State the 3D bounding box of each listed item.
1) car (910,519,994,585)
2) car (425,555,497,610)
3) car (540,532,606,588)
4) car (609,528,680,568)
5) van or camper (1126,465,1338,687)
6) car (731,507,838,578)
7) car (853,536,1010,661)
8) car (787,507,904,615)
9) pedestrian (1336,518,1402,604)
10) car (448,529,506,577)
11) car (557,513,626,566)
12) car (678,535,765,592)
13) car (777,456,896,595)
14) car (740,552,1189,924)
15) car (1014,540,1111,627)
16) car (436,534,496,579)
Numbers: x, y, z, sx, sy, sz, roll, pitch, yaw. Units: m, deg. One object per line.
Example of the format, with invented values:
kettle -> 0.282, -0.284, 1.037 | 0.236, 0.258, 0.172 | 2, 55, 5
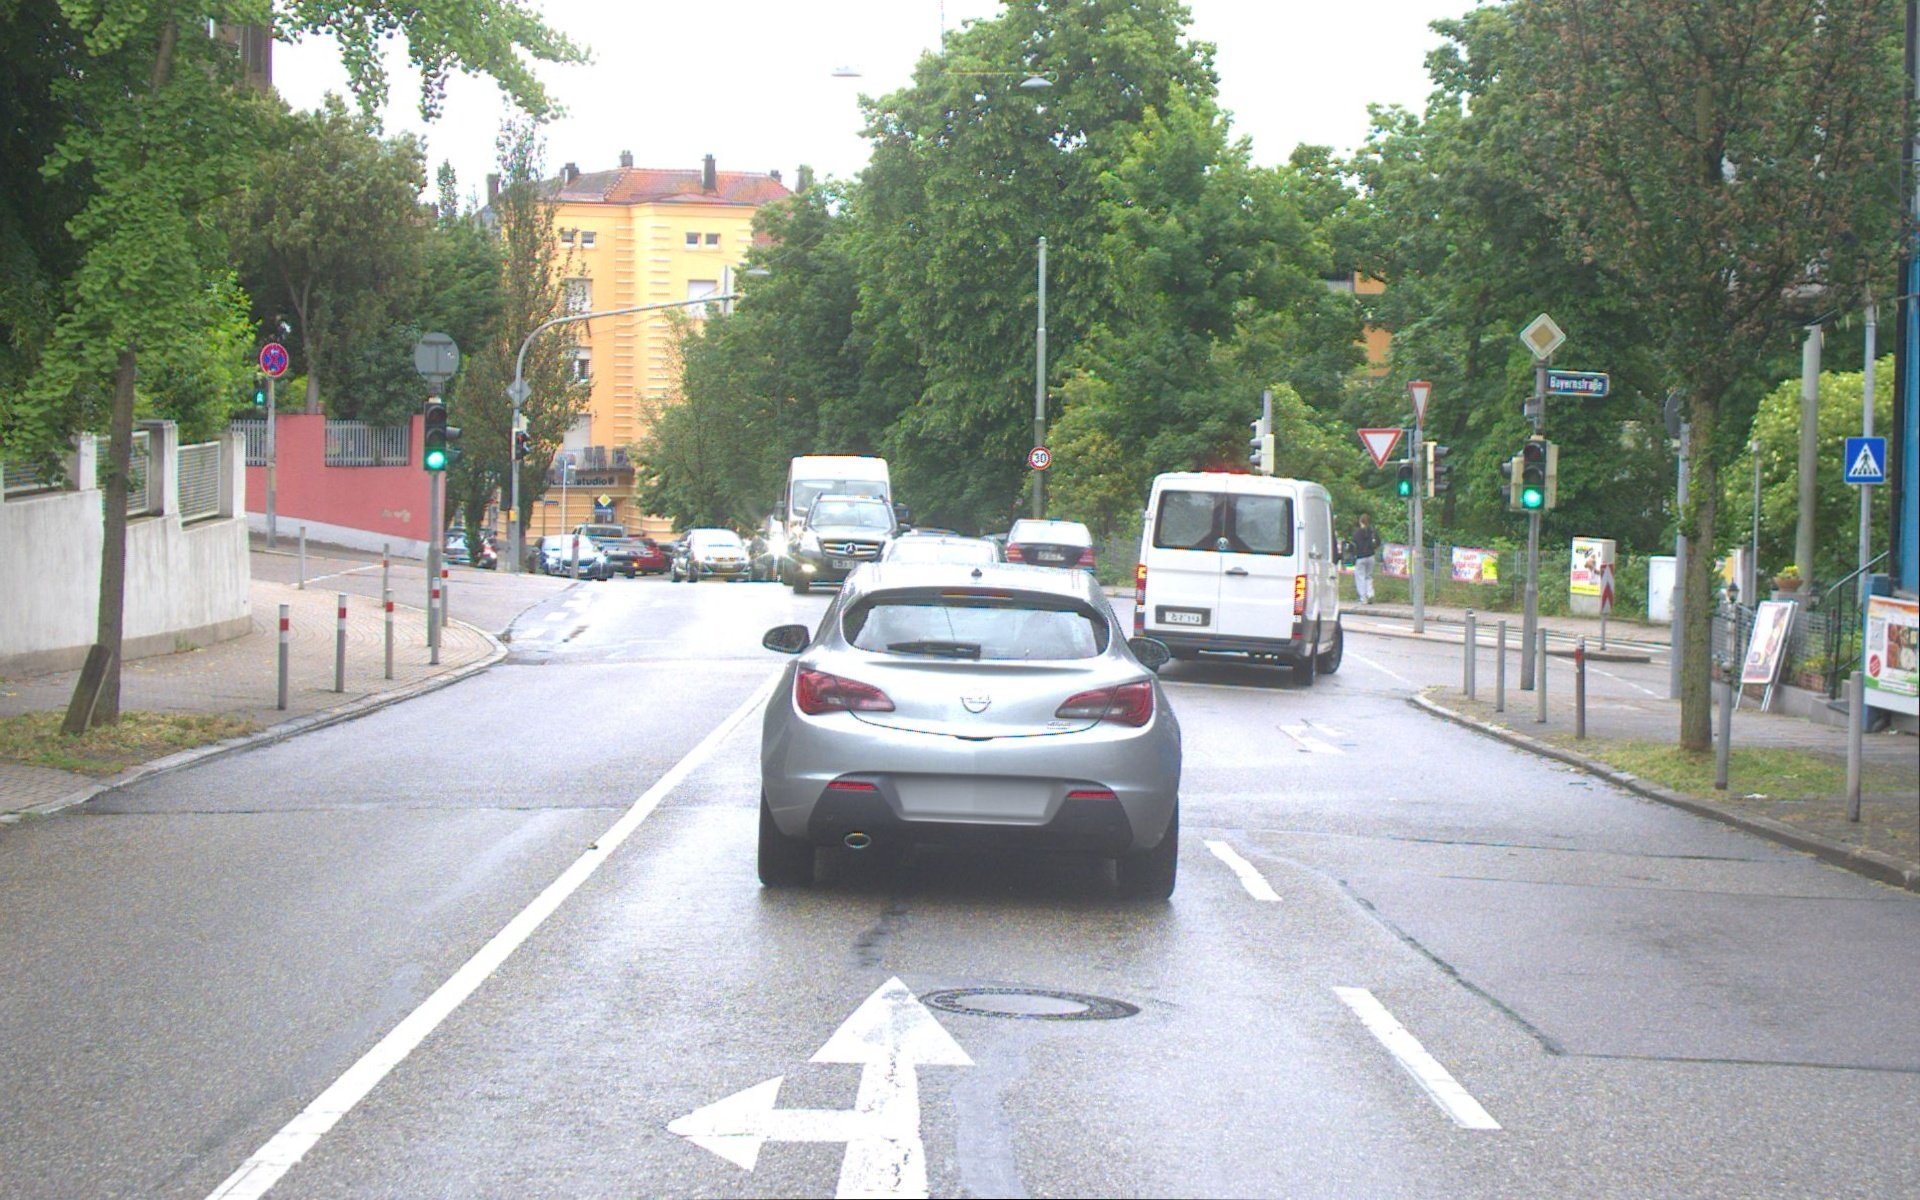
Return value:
car -> -0.203, -1.112, 81.028 | 1.620, 1.481, 3.436 | 1, 0, -6
car -> -15.451, -0.543, 106.277 | 1.814, 1.607, 4.001 | 2, 0, -13
car -> -11.442, -1.207, 101.816 | 1.852, 1.481, 5.369 | 1, 2, -6
car -> -12.554, -2.065, 136.540 | 1.814, 1.462, 4.001 | -4, 2, -19
van or camper -> 3.267, -0.294, 40.304 | 2.104, 2.318, 5.416 | 3, 1, 7
car -> -4.150, -1.334, 80.563 | 1.874, 1.569, 4.587 | 1, 1, -11
car -> -0.348, 0.015, 40.897 | 1.776, 1.425, 3.785 | 0, -1, -1
car -> -1.963, -0.689, 57.643 | 1.821, 1.646, 4.347 | 2, 2, -3
pedestrian -> 7.726, -0.741, 64.964 | 0.765, 1.600, 0.965 | -2, 1, -31
car -> -20.608, -2.000, 146.607 | 1.993, 2.007, 4.001 | 1, 0, -15
car -> -13.687, -2.218, 127.504 | 1.781, 1.848, 4.001 | 2, 0, -16
car -> -6.520, -0.981, 93.534 | 1.773, 1.492, 4.264 | 1, 0, -12
car -> -2.424, -1.408, 66.154 | 2.117, 2.537, 5.540 | 1, 1, -4
car -> 0.006, 0.543, 16.240 | 1.815, 1.425, 4.000 | 2, 2, 0
car -> 1.699, -0.299, 57.729 | 1.383, 1.407, 3.457 | 0, 1, -2
car -> -19.408, -1.722, 134.848 | 1.845, 1.578, 4.280 | 5, 0, -13
